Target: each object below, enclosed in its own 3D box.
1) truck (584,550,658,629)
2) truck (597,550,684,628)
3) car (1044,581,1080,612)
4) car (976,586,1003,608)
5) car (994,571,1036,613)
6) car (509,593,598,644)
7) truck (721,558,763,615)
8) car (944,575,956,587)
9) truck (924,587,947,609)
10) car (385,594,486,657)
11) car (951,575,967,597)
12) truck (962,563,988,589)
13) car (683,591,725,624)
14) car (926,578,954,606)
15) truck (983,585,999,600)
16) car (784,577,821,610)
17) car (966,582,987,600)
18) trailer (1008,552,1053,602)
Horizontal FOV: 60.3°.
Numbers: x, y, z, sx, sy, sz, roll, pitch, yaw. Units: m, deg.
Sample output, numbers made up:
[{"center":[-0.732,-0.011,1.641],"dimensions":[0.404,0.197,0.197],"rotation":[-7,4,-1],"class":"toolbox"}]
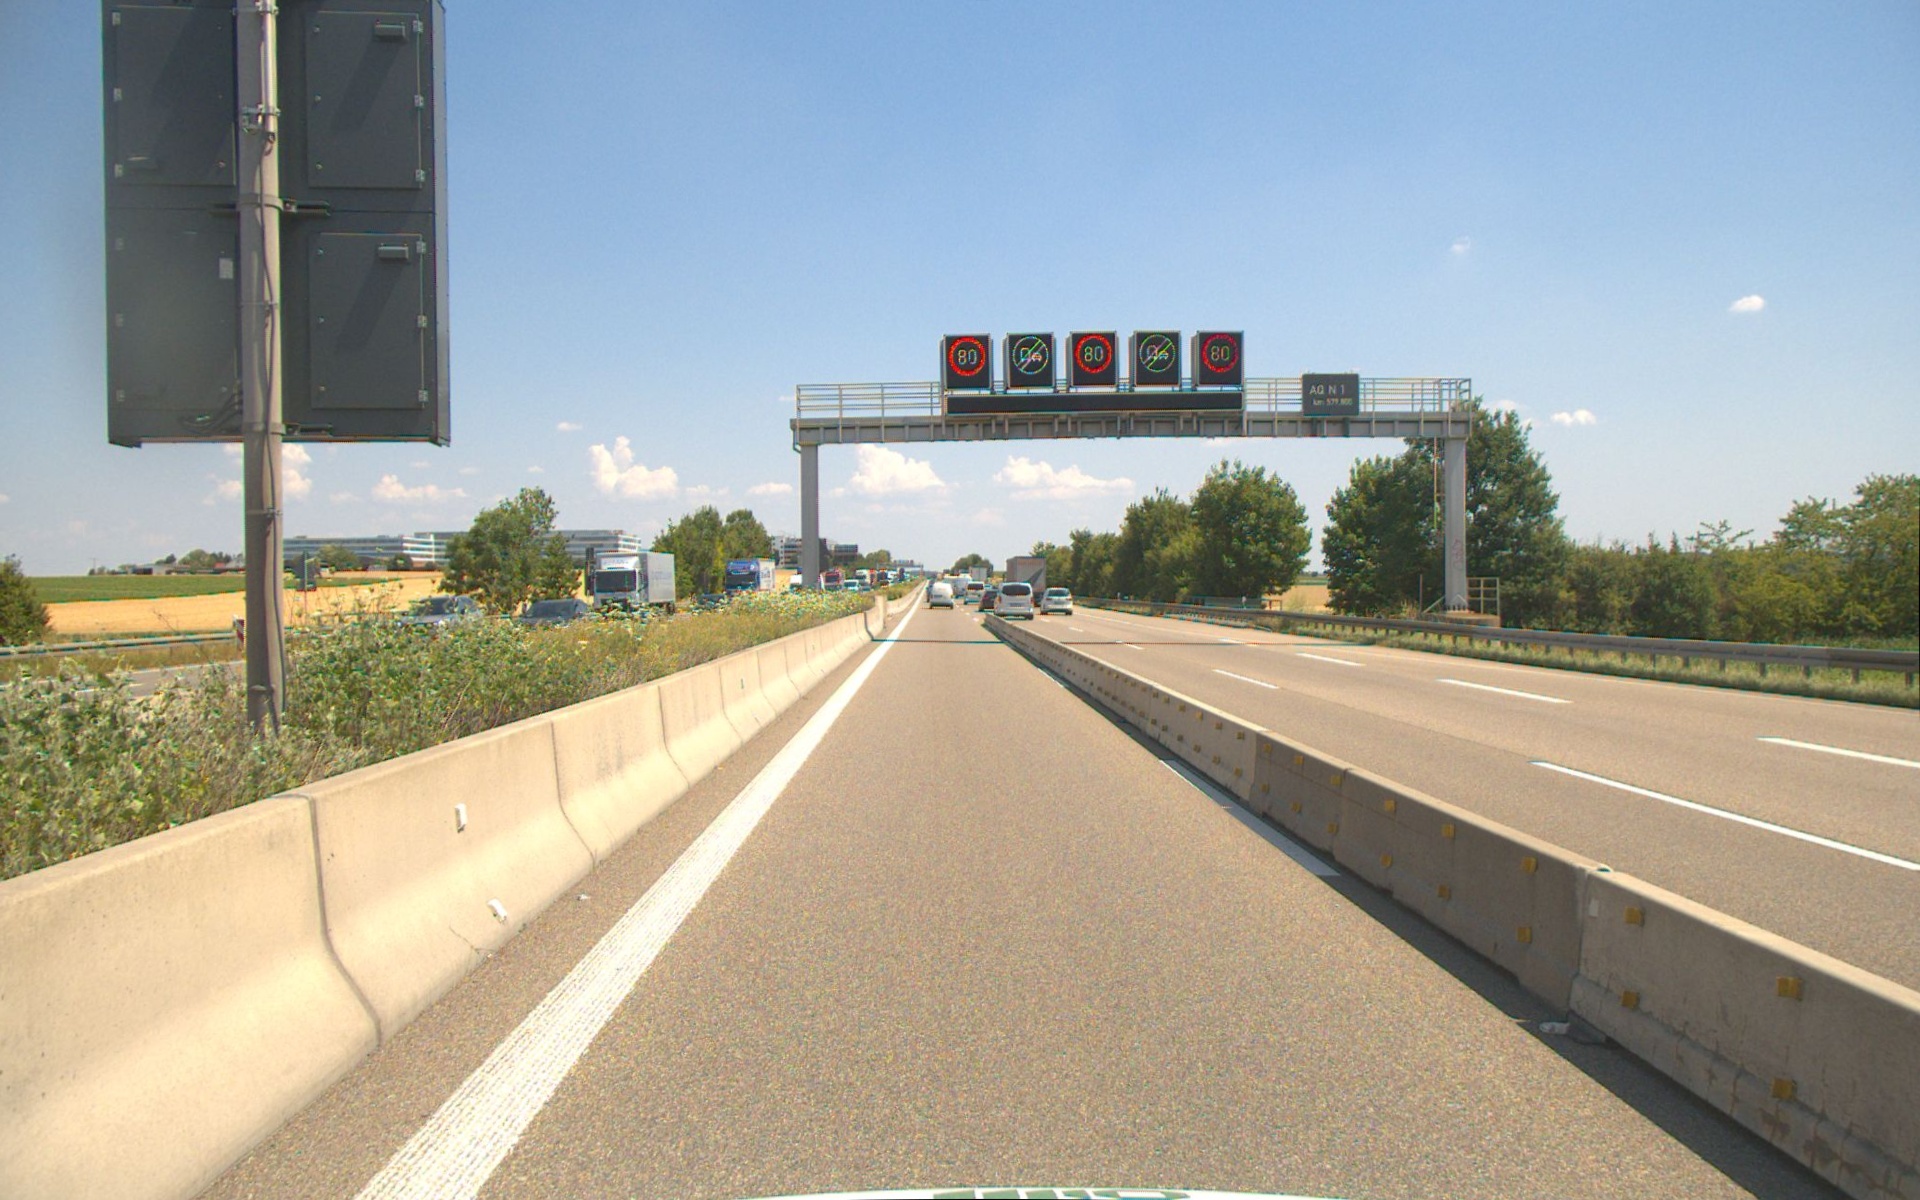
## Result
[{"center":[-16.327,-0.514,79.869],"dimensions":[2.643,3.650,4.000],"rotation":[-2,0,0],"class":"truck"},{"center":[-16.353,-0.576,85.276],"dimensions":[2.644,3.683,8.786],"rotation":[-2,1,0],"class":"truck"},{"center":[6.274,-0.195,102.093],"dimensions":[1.953,1.825,3.999],"rotation":[0,0,-1],"class":"car"},{"center":[1.977,-0.174,111.826],"dimensions":[1.737,1.472,3.999],"rotation":[0,0,-1],"class":"car"},{"center":[2.809,-0.389,85.197],"dimensions":[1.953,2.157,3.999],"rotation":[0,0,-1],"class":"car"},{"center":[-12.164,0.526,49.740],"dimensions":[1.796,1.347,4.278],"rotation":[-2,1,-3],"class":"car"},{"center":[-17.378,-1.069,132.141],"dimensions":[2.540,4.312,4.853],"rotation":[-3,0,-1],"class":"truck"},{"center":[-1.556,-3.002,259.960],"dimensions":[1.953,1.868,3.999],"rotation":[0,0,-1],"class":"car"},{"center":[-2.395,-0.206,159.637],"dimensions":[2.167,2.049,4.970],"rotation":[-1,1,-2],"class":"truck"},{"center":[-15.910,0.740,50.362],"dimensions":[1.795,1.749,4.079],"rotation":[-2,0,-1],"class":"car"},{"center":[-0.138,-1.642,193.442],"dimensions":[1.737,2.434,3.999],"rotation":[0,0,-1],"class":"car"},{"center":[2.376,-3.770,263.392],"dimensions":[3.738,3.973,9.578],"rotation":[-1,0,-1],"class":"truck"},{"center":[-12.548,0.350,81.195],"dimensions":[1.527,1.467,3.836],"rotation":[-2,1,-2],"class":"car"},{"center":[-1.463,-0.563,120.462],"dimensions":[1.953,2.049,3.999],"rotation":[0,0,-1],"class":"car"},{"center":[4.298,-1.089,230.677],"dimensions":[1.953,2.049,3.999],"rotation":[-1,0,-1],"class":"truck"},{"center":[-9.776,-0.432,102.878],"dimensions":[1.953,1.980,4.793],"rotation":[-1,0,-2],"class":"car"},{"center":[1.455,-0.785,146.972],"dimensions":[1.737,1.472,3.999],"rotation":[0,0,-1],"class":"car"},{"center":[5.904,-1.845,139.217],"dimensions":[3.211,4.036,9.110],"rotation":[0,0,-1],"class":"trailer"}]
